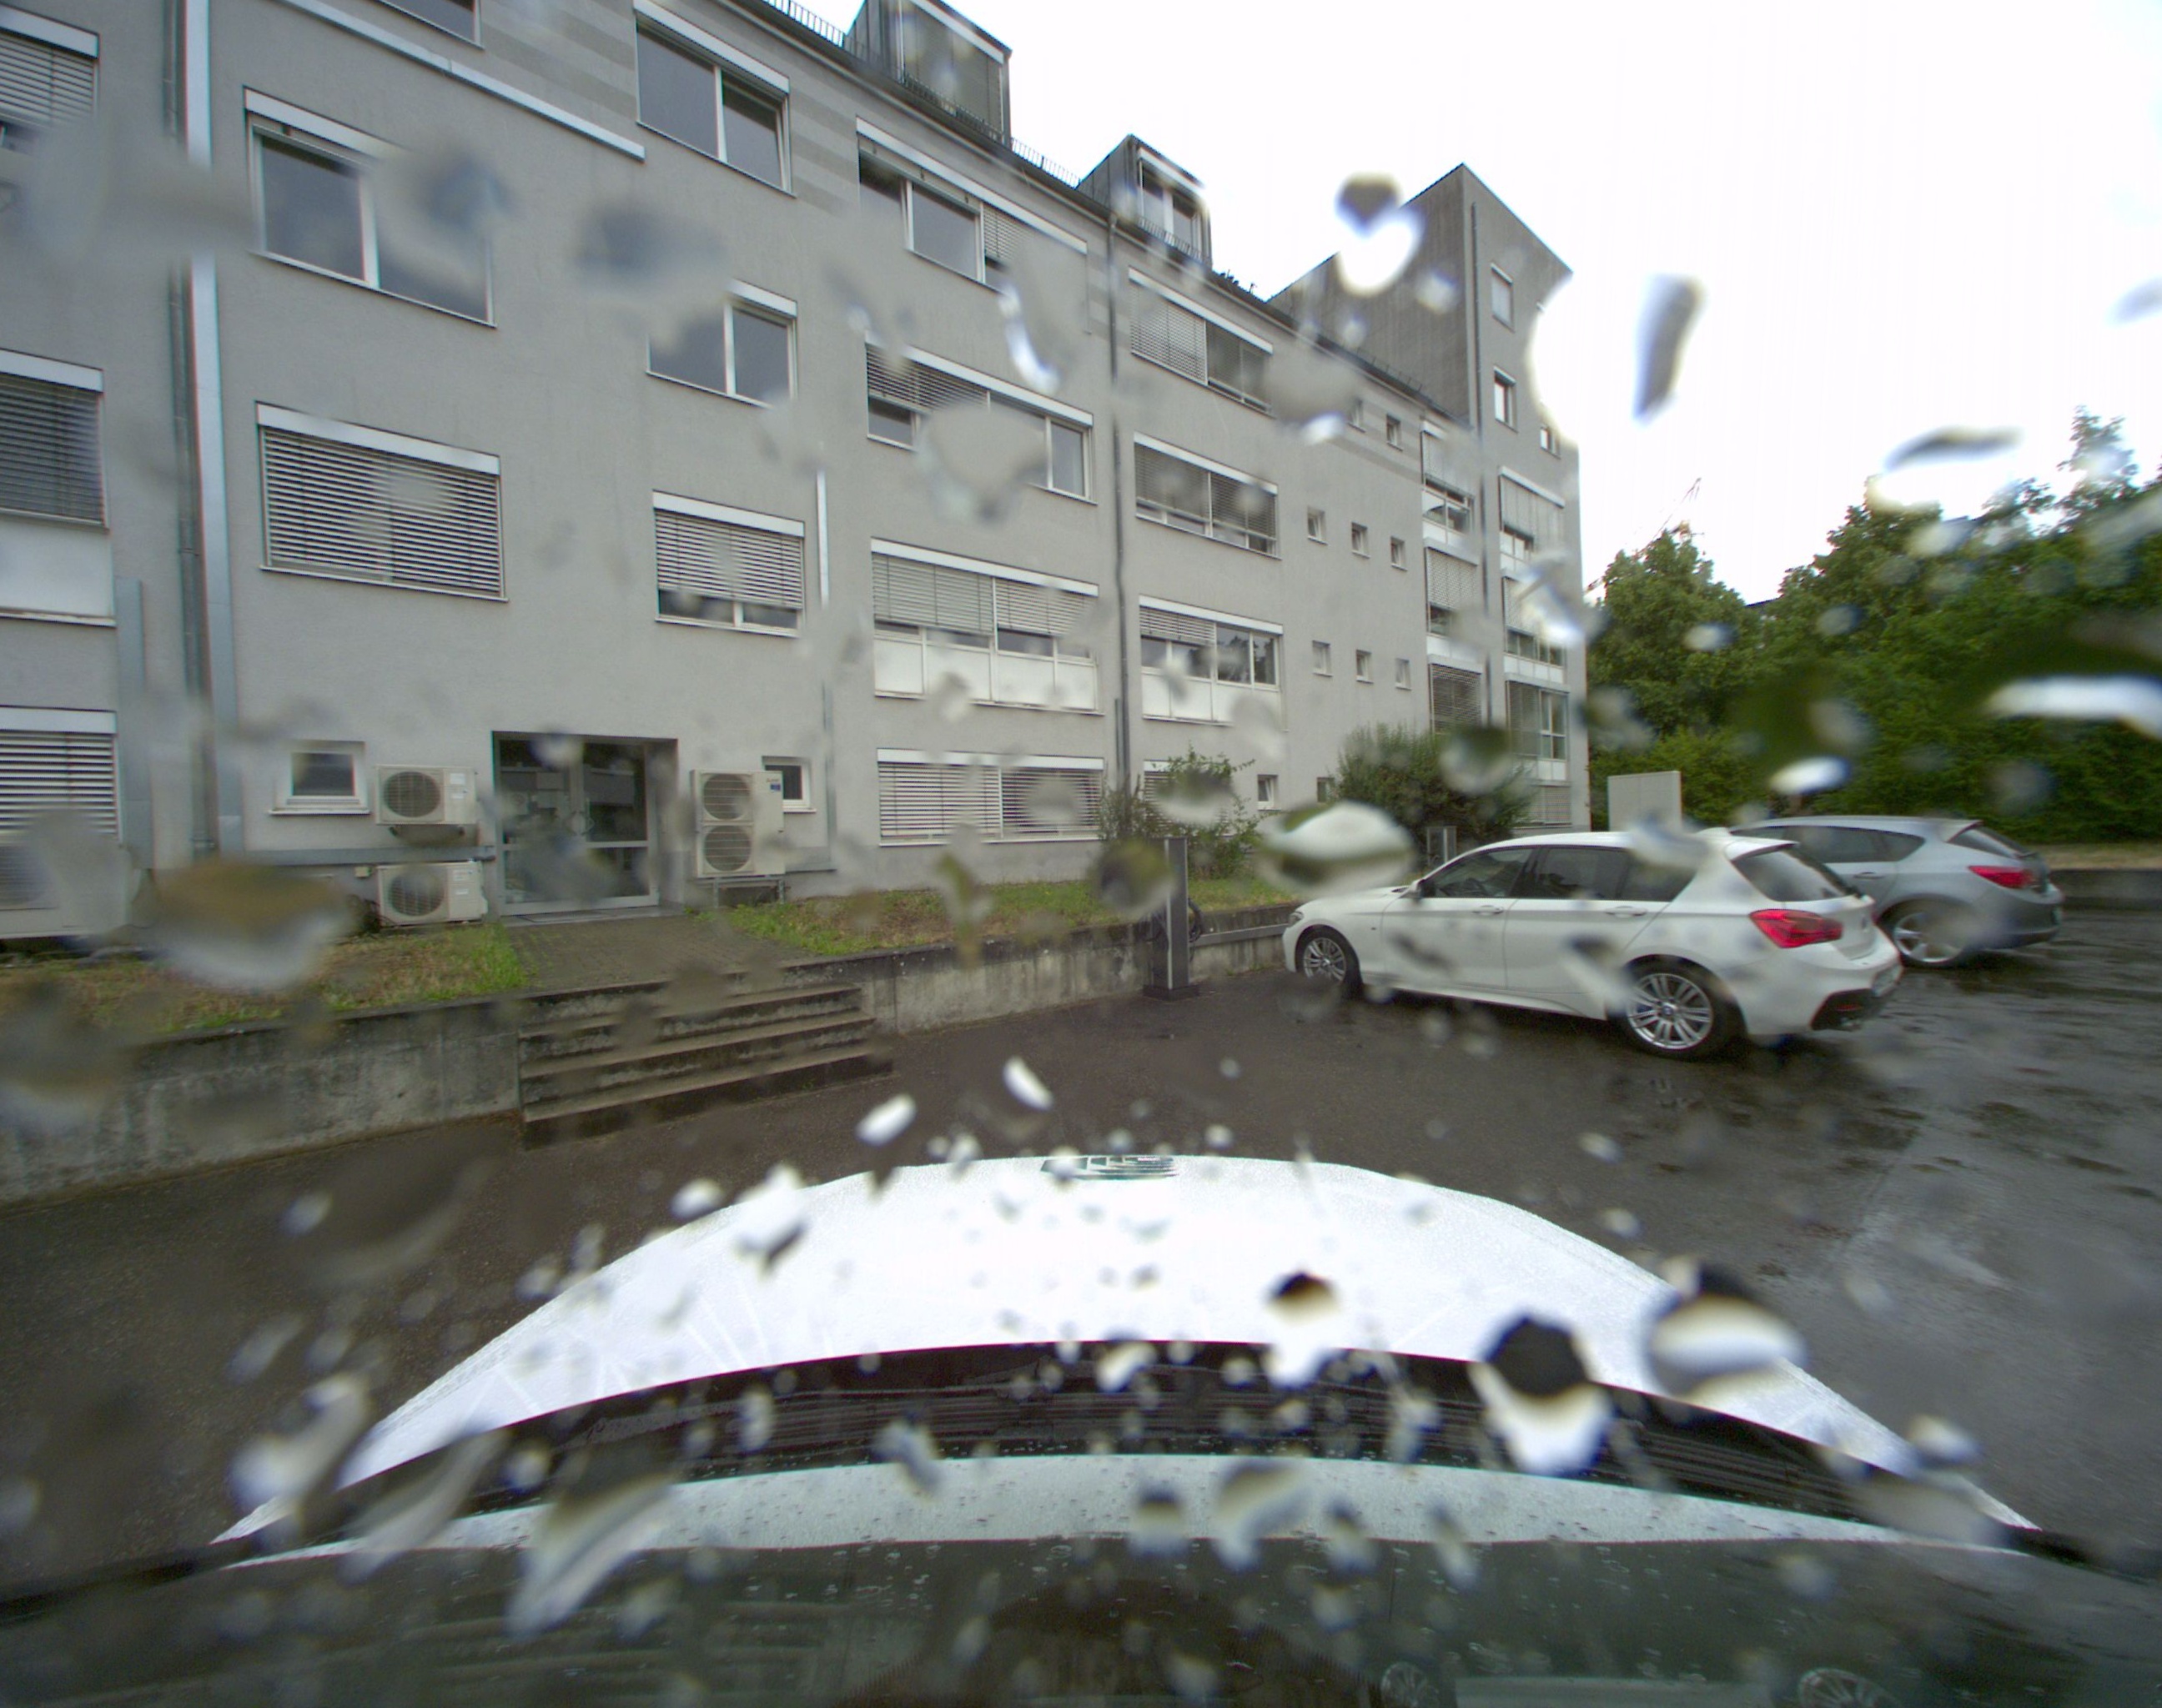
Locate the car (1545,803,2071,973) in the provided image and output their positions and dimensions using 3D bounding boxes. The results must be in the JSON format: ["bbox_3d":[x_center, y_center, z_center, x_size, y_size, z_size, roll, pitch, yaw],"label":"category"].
[{"bbox_3d":[8.041,0.297,9.415,2.009,1.489,4.175,-2,0,-35],"label":"car"}]

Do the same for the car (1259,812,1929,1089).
[{"bbox_3d":[3.737,0.516,6.667,2.009,1.489,4.175,-2,0,-35],"label":"car"}]
